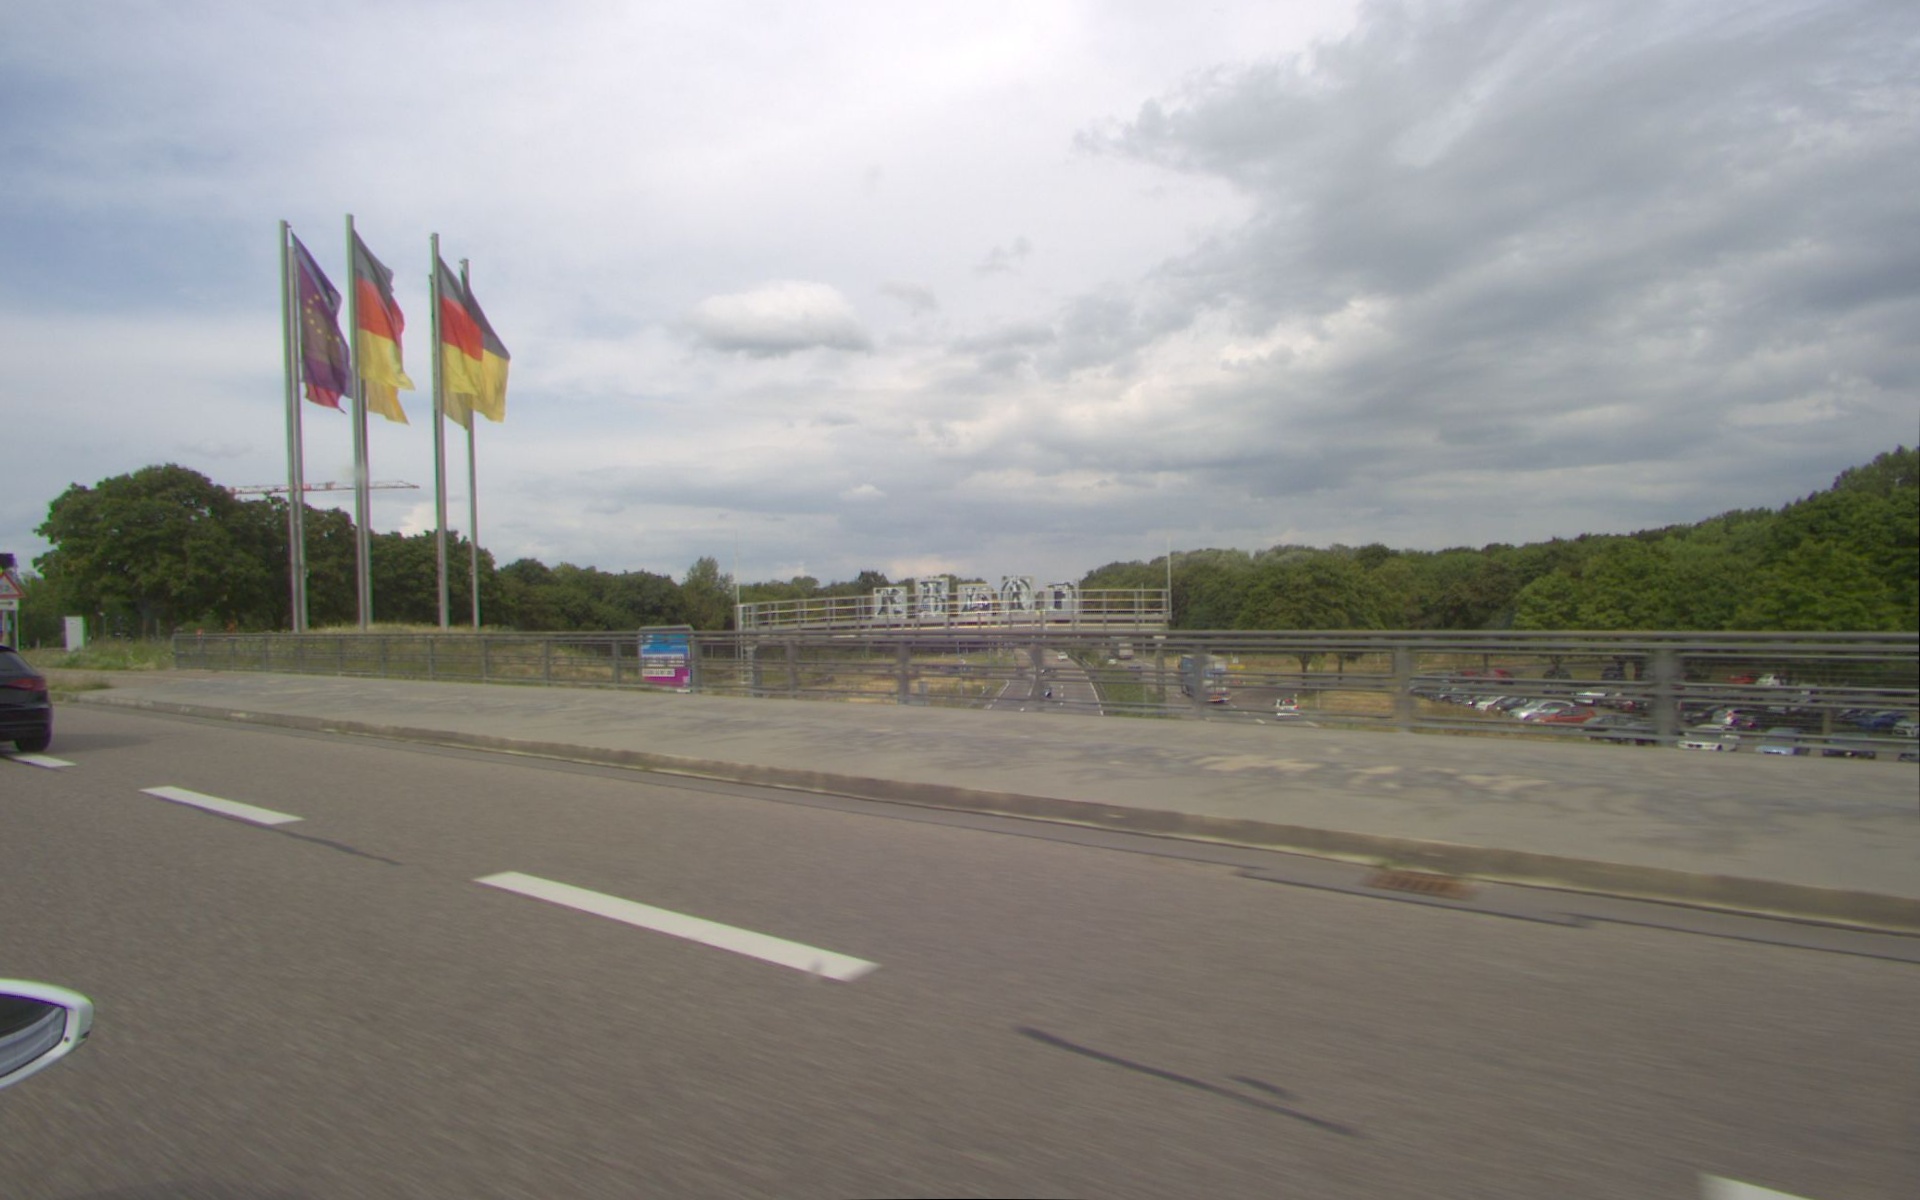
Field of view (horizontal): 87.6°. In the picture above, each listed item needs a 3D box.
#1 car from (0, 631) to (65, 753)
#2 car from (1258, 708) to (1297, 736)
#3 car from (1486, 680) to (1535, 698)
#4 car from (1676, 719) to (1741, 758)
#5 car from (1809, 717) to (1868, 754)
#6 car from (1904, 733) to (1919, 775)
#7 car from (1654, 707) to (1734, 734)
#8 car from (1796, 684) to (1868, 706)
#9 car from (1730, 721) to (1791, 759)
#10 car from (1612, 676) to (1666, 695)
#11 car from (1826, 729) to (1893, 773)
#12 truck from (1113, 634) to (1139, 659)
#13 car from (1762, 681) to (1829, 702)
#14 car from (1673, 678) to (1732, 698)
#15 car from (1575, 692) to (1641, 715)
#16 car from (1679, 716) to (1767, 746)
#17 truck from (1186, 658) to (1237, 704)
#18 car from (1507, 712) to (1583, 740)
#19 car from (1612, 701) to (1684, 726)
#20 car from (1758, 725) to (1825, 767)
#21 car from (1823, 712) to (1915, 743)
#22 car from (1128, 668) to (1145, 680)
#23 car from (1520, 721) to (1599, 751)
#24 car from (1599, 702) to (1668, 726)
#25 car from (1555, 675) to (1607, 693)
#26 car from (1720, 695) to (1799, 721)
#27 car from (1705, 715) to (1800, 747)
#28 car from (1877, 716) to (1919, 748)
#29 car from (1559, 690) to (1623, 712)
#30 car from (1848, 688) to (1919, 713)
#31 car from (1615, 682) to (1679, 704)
[{"bbox_3d":[-13.018,1.117,12.499,4.057,1.413,1.727,-1,-1,32],"label":"car"},{"bbox_3d":[22.052,8.461,69.694,1.725,1.616,4.002,0,-2,4],"label":"car"},{"bbox_3d":[55.294,8.916,100.697,3.926,1.594,1.999,0,-2,14],"label":"car"},{"bbox_3d":[39.060,7.193,52.223,3.959,1.594,1.982,2,-2,-42],"label":"car"},{"bbox_3d":[48.382,7.416,55.128,3.959,1.594,1.982,2,-2,-42],"label":"car"},{"bbox_3d":[44.228,6.998,45.263,3.959,1.594,1.982,2,-2,-42],"label":"car"},{"bbox_3d":[50.026,8.220,68.342,3.926,1.594,1.999,0,-2,14],"label":"car"},{"bbox_3d":[70.853,7.685,81.405,3.925,1.594,1.999,0,-2,13],"label":"car"},{"bbox_3d":[43.619,7.585,54.538,3.959,1.594,1.982,2,-2,-42],"label":"car"},{"bbox_3d":[65.580,8.263,96.772,3.926,1.594,1.999,0,-2,14],"label":"car"},{"bbox_3d":[42.369,7.051,47.147,3.959,1.594,1.982,2,-2,-42],"label":"car"},{"bbox_3d":[31.462,8.758,189.844,3.778,4.518,12.658,0,-2,4],"label":"truck"},{"bbox_3d":[71.623,7.822,85.936,3.925,1.594,1.999,0,-2,13],"label":"car"},{"bbox_3d":[68.840,8.157,92.924,3.926,1.594,1.999,0,-2,14],"label":"car"},{"bbox_3d":[51.270,8.179,79.324,3.926,1.594,1.999,0,-2,14],"label":"car"},{"bbox_3d":[48.373,8.323,63.577,3.926,1.594,1.999,0,-2,14],"label":"car"},{"bbox_3d":[23.945,7.575,96.011,3.293,3.664,13.996,0,-2,8],"label":"truck"},{"bbox_3d":[39.013,8.409,66.881,3.926,1.594,1.999,0,-2,14],"label":"car"},{"bbox_3d":[50.488,8.323,73.560,3.926,1.594,1.999,0,-2,14],"label":"car"},{"bbox_3d":[40.850,7.107,49.172,3.959,1.594,1.982,2,-2,-42],"label":"car"},{"bbox_3d":[53.543,7.475,59.031,3.924,1.594,2.000,1,-1,-9],"label":"car"},{"bbox_3d":[23.820,9.998,135.148,1.790,1.527,4.002,0,-2,2],"label":"car"},{"bbox_3d":[38.433,8.700,64.303,3.926,1.594,1.999,0,-2,14],"label":"car"},{"bbox_3d":[51.082,8.627,76.005,3.926,1.594,1.999,0,-2,14],"label":"car"},{"bbox_3d":[61.818,8.341,99.736,3.926,1.594,1.999,0,-2,14],"label":"car"},{"bbox_3d":[57.021,7.676,71.519,3.926,1.594,1.999,0,-2,14],"label":"car"},{"bbox_3d":[46.956,7.740,59.408,3.926,1.594,1.999,0,-2,14],"label":"car"},{"bbox_3d":[54.391,7.400,56.426,3.924,1.594,2.000,1,-1,-9],"label":"car"},{"bbox_3d":[51.576,8.257,81.925,3.926,1.594,1.999,0,-2,14],"label":"car"},{"bbox_3d":[69.085,7.476,74.591,3.925,1.594,1.999,0,-2,13],"label":"car"},{"bbox_3d":[56.535,7.647,82.461,3.926,1.594,1.999,0,-2,14],"label":"car"}]
